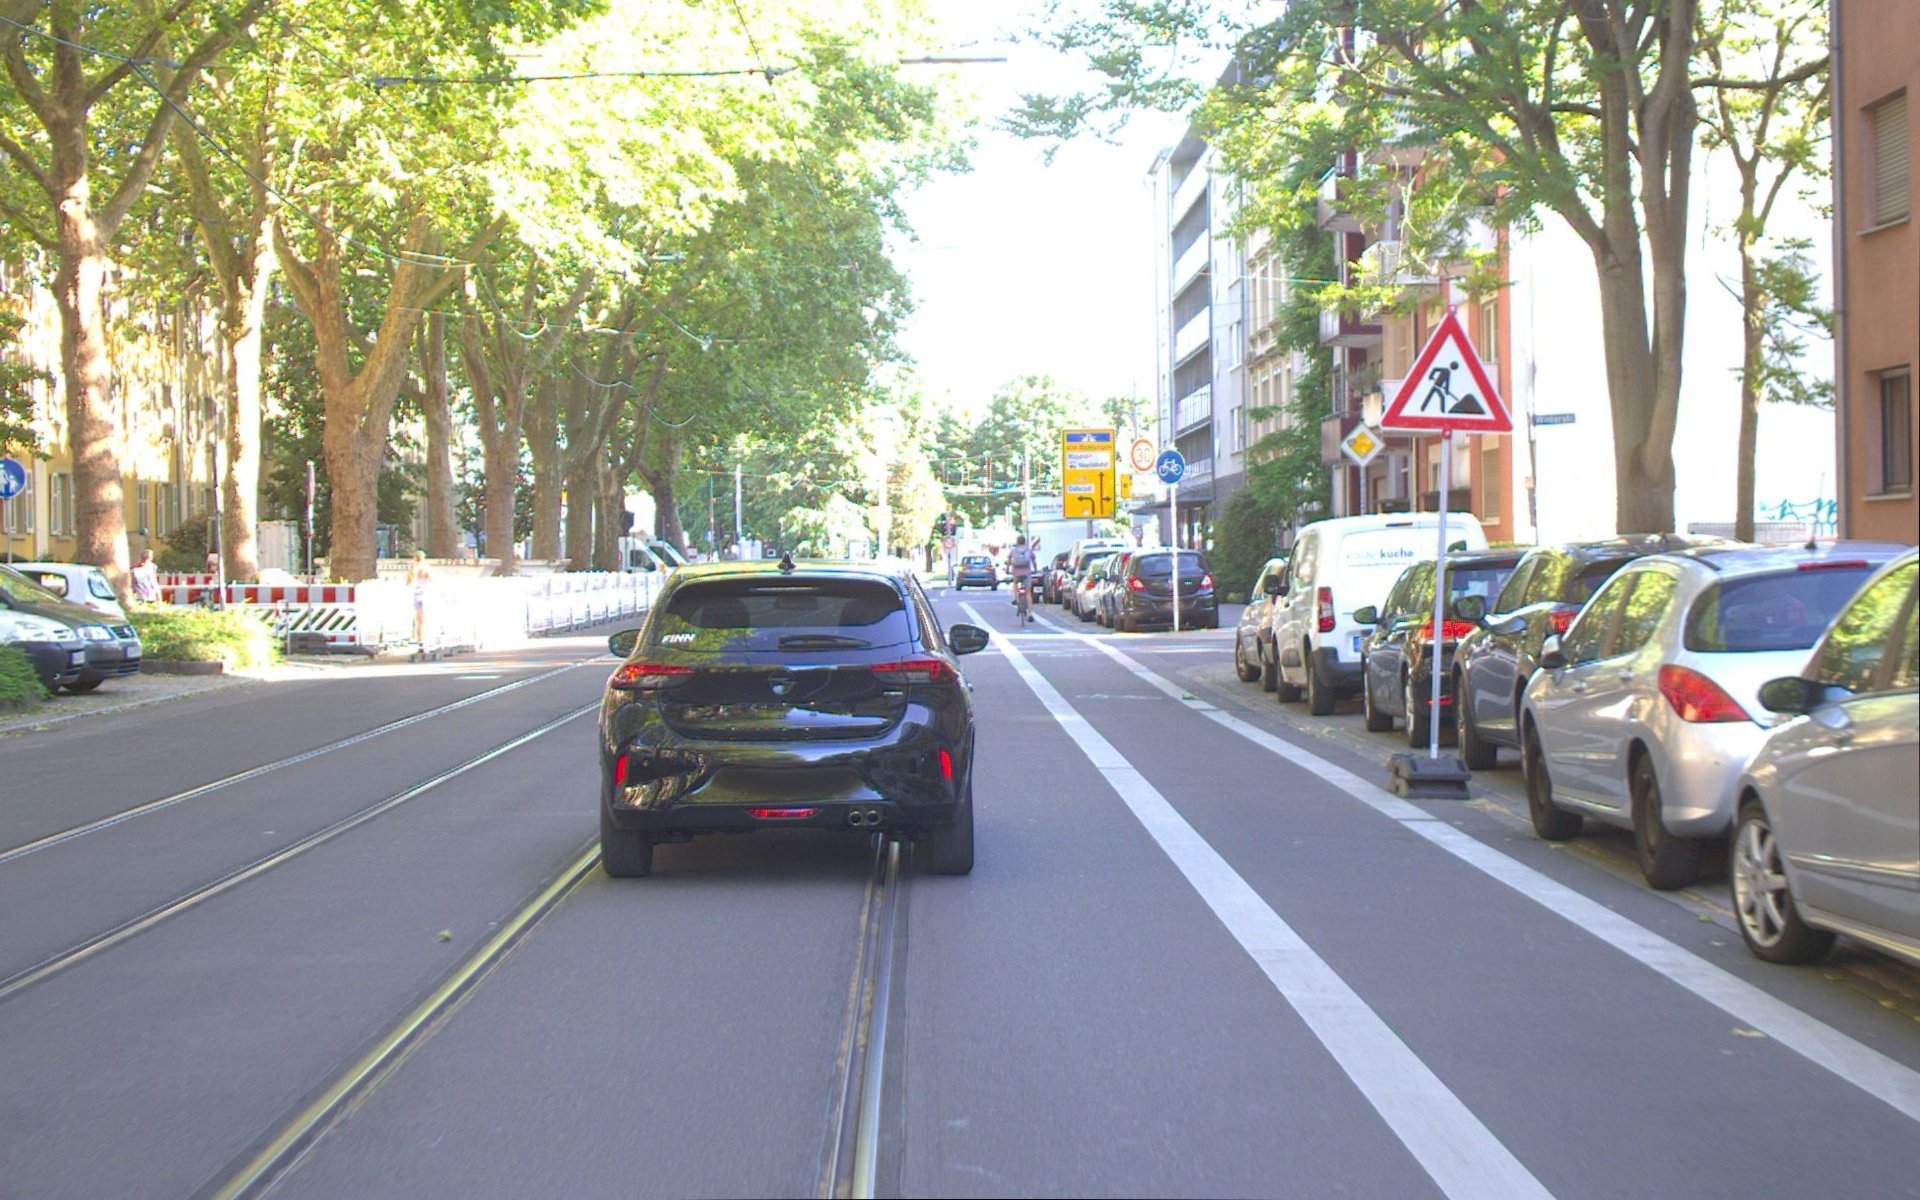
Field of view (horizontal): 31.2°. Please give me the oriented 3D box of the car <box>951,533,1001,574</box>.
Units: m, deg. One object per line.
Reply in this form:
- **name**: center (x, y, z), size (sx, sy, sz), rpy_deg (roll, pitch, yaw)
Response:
- **car**: center (0.666, -2.030, 149.522), size (1.993, 1.690, 4.740), rpy_deg (-3, 1, -1)

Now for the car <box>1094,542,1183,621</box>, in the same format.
- **car**: center (3.672, -0.395, 71.174), size (1.591, 1.521, 3.835), rpy_deg (-3, 0, 0)

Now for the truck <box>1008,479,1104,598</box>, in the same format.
- **truck**: center (2.864, -1.840, 104.193), size (2.538, 3.326, 7.195), rpy_deg (-3, 1, 0)

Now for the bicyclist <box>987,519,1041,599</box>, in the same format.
- **bicyclist**: center (1.103, -0.845, 70.859), size (1.089, 1.641, 1.400), rpy_deg (0, 1, 0)

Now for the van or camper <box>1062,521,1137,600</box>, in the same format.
- **van or camper**: center (3.486, -1.006, 86.345), size (1.669, 1.876, 4.211), rpy_deg (-2, 1, 0)

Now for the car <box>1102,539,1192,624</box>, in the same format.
- **car**: center (3.576, -0.370, 66.347), size (1.526, 1.584, 3.752), rpy_deg (0, 0, 0)

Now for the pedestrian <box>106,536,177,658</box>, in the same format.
- **pedestrian**: center (-11.759, -0.041, 49.413), size (0.822, 1.739, 0.796), rpy_deg (0, 0, 0)

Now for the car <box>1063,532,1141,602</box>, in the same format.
- **car**: center (3.360, -0.790, 81.843), size (1.660, 1.575, 3.589), rpy_deg (-2, 1, 0)

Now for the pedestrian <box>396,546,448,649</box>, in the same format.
- **pedestrian**: center (-8.714, -0.041, 55.714), size (0.716, 1.663, 0.778), rpy_deg (0, 0, 0)

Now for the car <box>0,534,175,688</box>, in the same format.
- **car**: center (-11.350, 0.132, 39.228), size (4.235, 1.682, 1.933), rpy_deg (-1, 1, 7)

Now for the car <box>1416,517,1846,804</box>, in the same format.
- **car**: center (4.130, 0.308, 21.850), size (1.767, 1.567, 4.337), rpy_deg (-3, 1, -1)

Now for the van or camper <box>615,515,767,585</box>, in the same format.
- **van or camper**: center (-10.479, -1.944, 134.154), size (5.723, 2.635, 2.269), rpy_deg (0, 0, 0)

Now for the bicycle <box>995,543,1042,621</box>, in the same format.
- **bicycle**: center (1.202, -0.392, 70.934), size (0.916, 1.555, 3.405), rpy_deg (0, 1, 0)

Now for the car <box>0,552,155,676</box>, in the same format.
- **car**: center (-12.319, 0.182, 43.409), size (3.847, 1.492, 1.862), rpy_deg (-1, 1, 0)

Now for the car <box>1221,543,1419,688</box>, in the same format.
- **car**: center (3.919, 0.130, 37.970), size (1.705, 1.468, 4.000), rpy_deg (-1, 1, -1)

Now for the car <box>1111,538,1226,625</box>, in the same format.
- **car**: center (3.753, -0.365, 62.466), size (1.733, 1.457, 3.916), rpy_deg (-3, 1, -1)

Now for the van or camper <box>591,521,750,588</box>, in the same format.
- **van or camper**: center (-10.485, -1.640, 124.807), size (5.502, 2.371, 2.269), rpy_deg (0, 0, 3)

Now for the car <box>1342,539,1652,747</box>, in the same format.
- **car**: center (4.116, 0.272, 26.930), size (1.705, 1.468, 4.168), rpy_deg (-1, 1, -1)

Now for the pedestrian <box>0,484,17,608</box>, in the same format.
- **pedestrian**: center (-13.855, -0.768, 48.608), size (0.822, 1.739, 0.796), rpy_deg (0, 0, 0)

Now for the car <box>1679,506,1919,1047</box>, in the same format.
- **car**: center (3.749, 0.486, 11.205), size (1.793, 1.622, 4.277), rpy_deg (-3, 1, -1)

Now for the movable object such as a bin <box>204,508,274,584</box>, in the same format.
- **movable object such as a bin**: center (-17.823, -1.332, 85.022), size (1.333, 1.862, 2.008), rpy_deg (0, 0, 0)

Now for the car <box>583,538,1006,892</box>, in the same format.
- **car**: center (-0.726, 0.451, 16.481), size (1.781, 1.491, 4.000), rpy_deg (0, 1, -1)

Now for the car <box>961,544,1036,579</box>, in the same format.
- **car**: center (1.983, -1.980, 178.918), size (1.916, 1.690, 4.322), rpy_deg (-3, 1, -29)

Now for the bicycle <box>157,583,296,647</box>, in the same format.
- **bicycle**: center (-11.282, 0.226, 52.937), size (1.972, 0.959, 0.726), rpy_deg (-1, 1, 1)

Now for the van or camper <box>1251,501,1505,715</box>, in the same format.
- **van or camper**: center (3.908, 0.029, 32.903), size (1.755, 1.858, 4.831), rpy_deg (-1, 1, -1)

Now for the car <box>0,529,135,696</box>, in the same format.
- **car**: center (-11.183, 0.115, 36.943), size (4.198, 1.751, 1.740), rpy_deg (0, 1, 1)

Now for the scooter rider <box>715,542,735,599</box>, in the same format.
- **scooter rider**: center (-8.085, -1.026, 118.347), size (0.649, 1.950, 0.624), rpy_deg (0, 0, 0)

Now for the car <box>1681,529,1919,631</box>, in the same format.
- **car**: center (13.450, -0.320, 53.931), size (3.913, 1.477, 1.562), rpy_deg (-1, 4, -1)

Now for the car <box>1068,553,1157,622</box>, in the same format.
- **car**: center (3.372, -0.306, 76.853), size (1.659, 1.394, 4.740), rpy_deg (-3, 1, -1)

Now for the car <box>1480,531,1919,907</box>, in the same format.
- **car**: center (3.813, 0.464, 16.710), size (1.788, 1.517, 4.322), rpy_deg (-3, 1, -1)
